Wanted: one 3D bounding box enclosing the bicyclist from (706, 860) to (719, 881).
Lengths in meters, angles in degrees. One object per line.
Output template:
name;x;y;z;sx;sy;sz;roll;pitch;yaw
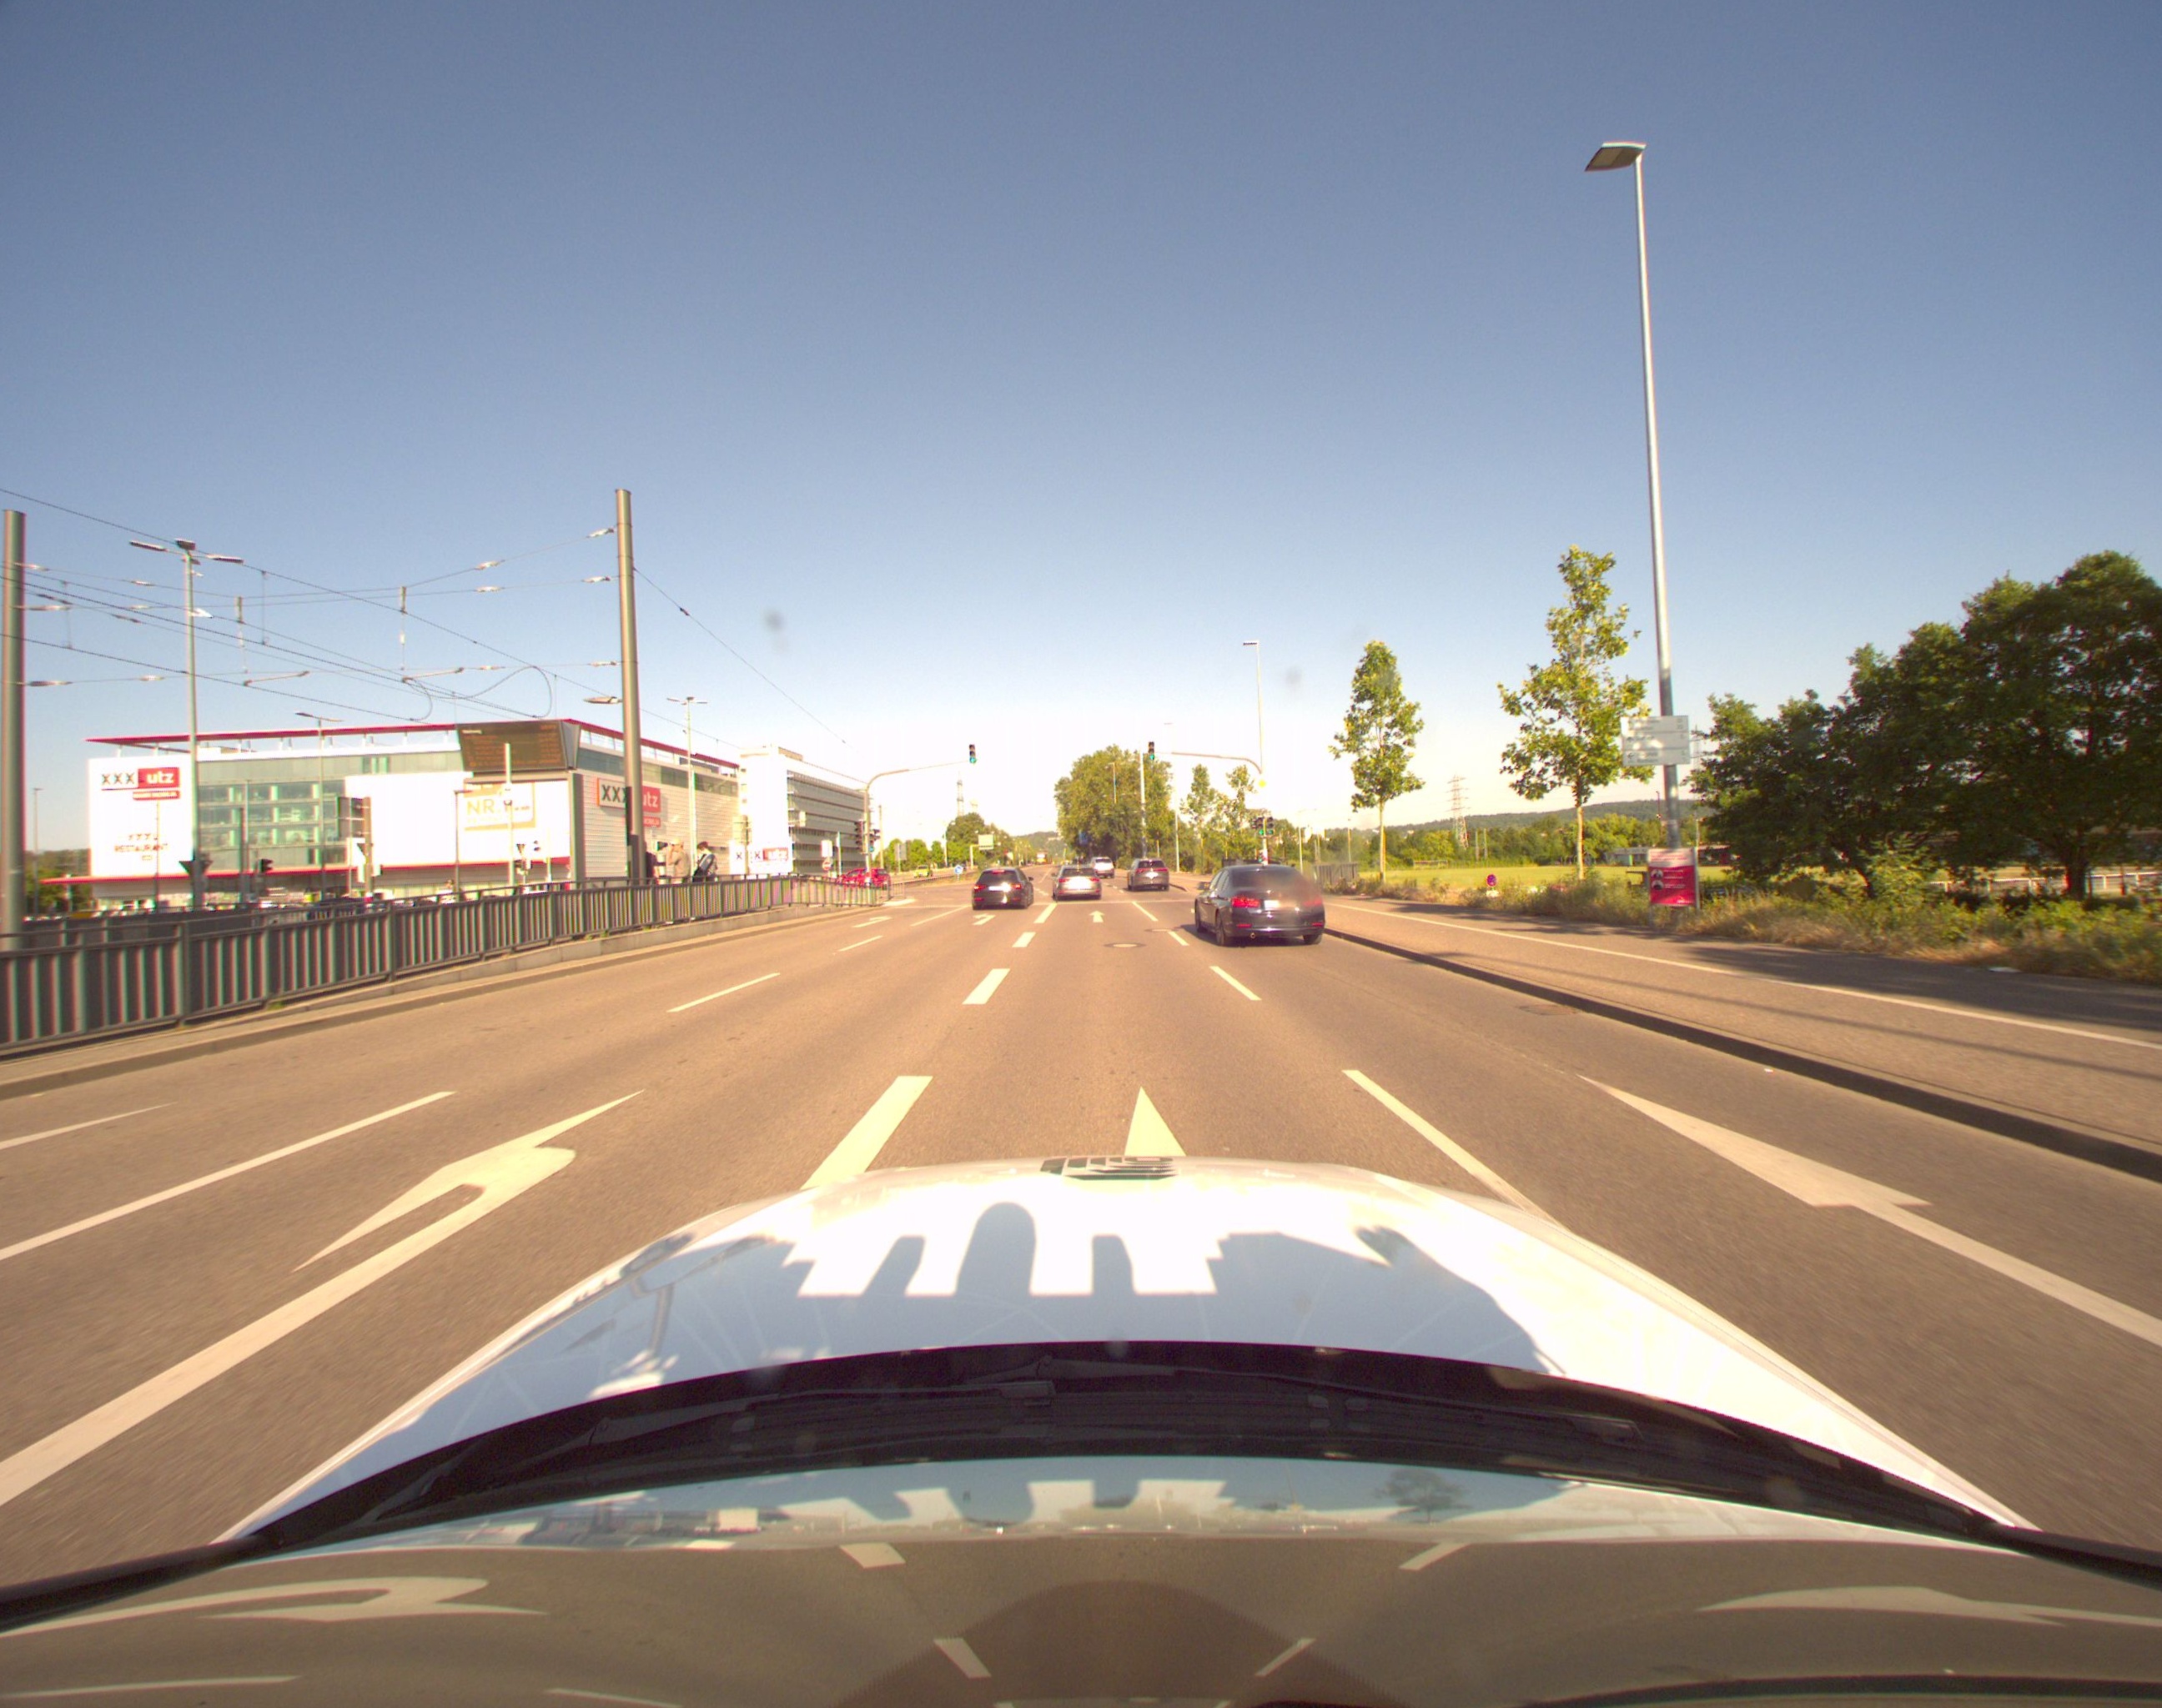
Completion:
bicyclist;-27.707;1.221;61.255;0.585;1.522;0.752;-1;0;5

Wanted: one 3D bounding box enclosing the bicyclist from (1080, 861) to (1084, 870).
bicyclist;0.227;1.992;143.387;0.683;1.509;0.890;-2;0;0

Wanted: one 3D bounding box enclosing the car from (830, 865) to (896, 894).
car;-13.780;1.596;51.529;3.544;1.460;1.780;-5;-1;19

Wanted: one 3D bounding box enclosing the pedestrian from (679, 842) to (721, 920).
pedestrian;-8.302;0.576;17.751;0.531;1.657;0.751;0;-1;2

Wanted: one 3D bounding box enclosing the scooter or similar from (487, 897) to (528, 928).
scooter or similar;-20.314;2.067;28.880;1.069;1.015;0.782;-2;-2;-27

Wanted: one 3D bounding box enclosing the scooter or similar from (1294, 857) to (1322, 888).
scooter or similar;9.293;0.763;33.351;0.524;1.231;1.261;-2;-1;-13

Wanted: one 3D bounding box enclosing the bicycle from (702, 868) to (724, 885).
bicycle;-27.701;1.681;61.314;0.585;1.168;1.995;-1;0;5

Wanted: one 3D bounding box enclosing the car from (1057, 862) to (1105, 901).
car;-0.049;1.085;34.024;1.860;1.467;4.664;-1;0;-1

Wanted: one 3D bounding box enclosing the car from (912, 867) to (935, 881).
car;-19.195;2.394;99.437;1.777;1.447;4.108;-4;0;0

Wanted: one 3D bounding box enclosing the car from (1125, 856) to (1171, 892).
car;3.297;0.936;40.811;1.839;1.661;4.438;-1;0;-1

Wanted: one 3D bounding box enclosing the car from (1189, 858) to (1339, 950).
car;3.299;0.851;15.627;1.859;1.467;4.586;-1;-1;1

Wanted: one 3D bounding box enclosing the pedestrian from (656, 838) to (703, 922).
pedestrian;-8.277;0.519;16.809;0.531;1.693;0.761;0;-1;2

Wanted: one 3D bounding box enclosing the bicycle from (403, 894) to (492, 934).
bicycle;-21.828;2.047;28.117;2.285;1.218;0.708;-2;-2;-28

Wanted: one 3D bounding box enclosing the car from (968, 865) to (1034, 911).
car;-2.765;1.145;28.903;1.909;1.458;4.090;-1;-1;0

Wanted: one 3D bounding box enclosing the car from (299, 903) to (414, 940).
car;-39.012;3.598;43.950;4.234;1.498;2.014;-5;-1;-3

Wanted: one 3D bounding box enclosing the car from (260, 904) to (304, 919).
car;-103.177;7.399;105.250;1.869;1.619;3.995;0;0;-4

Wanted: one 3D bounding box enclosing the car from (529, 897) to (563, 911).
car;-75.385;7.060;114.760;1.915;1.702;4.446;0;0;-1

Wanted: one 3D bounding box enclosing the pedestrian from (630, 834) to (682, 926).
pedestrian;-8.387;0.506;16.094;0.703;1.775;0.536;0;-1;4

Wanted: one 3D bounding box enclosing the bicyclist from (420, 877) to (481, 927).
bicyclist;-21.779;1.650;28.159;1.490;1.617;0.815;-2;-2;-27

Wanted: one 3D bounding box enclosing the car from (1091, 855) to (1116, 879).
car;1.773;1.017;65.043;1.878;1.796;3.998;0;0;-1
